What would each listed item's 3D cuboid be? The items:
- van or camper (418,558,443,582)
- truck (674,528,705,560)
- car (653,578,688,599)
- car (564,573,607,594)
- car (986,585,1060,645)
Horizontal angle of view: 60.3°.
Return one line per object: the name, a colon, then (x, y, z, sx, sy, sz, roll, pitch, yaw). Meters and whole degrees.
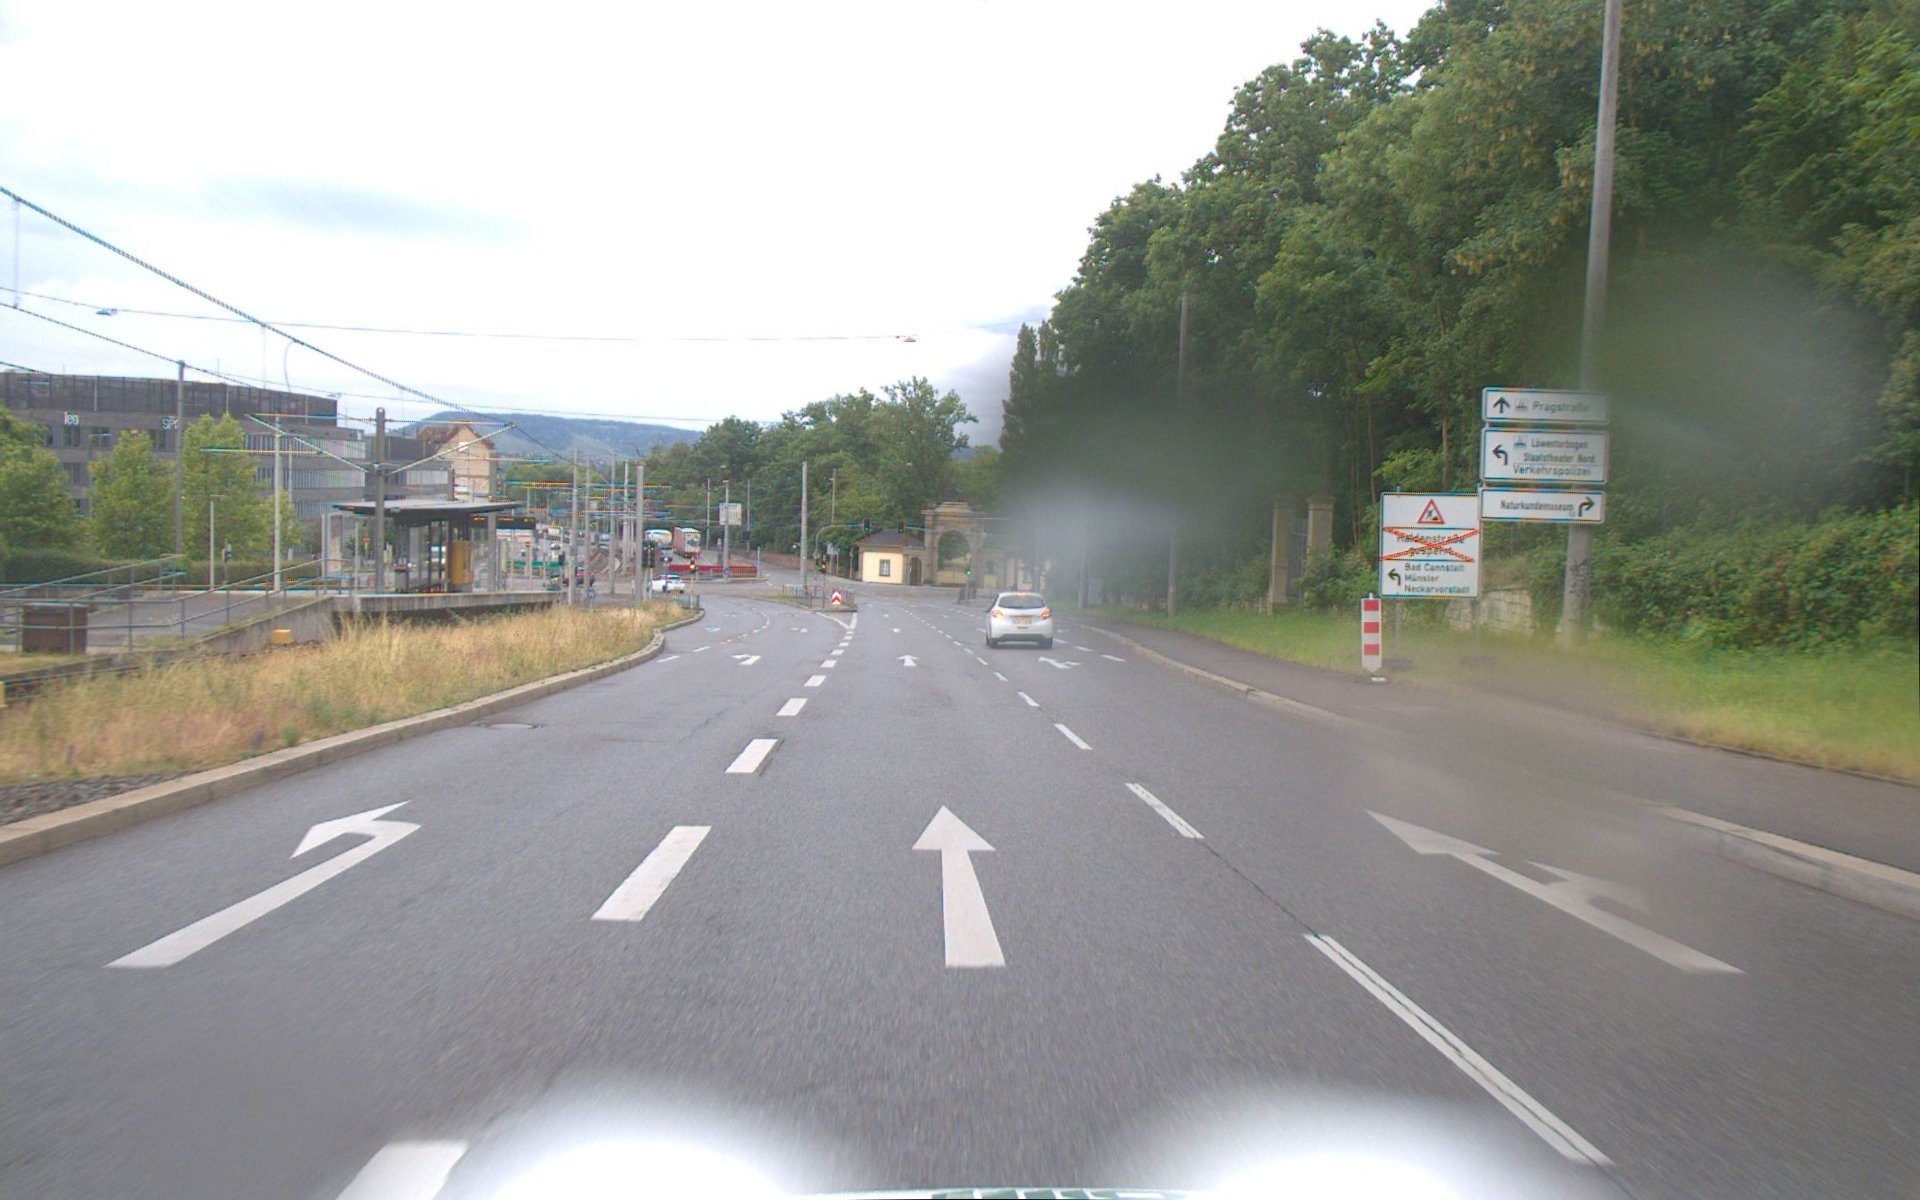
van or camper: (-54.832, -3.103, 171.361, 1.957, 2.385, 3.990, -1, 1, -10)
truck: (-42.046, -8.607, 256.684, 3.358, 4.649, 11.241, 4, 0, -15)
car: (-23.351, -0.953, 133.259, 1.799, 1.634, 3.968, 1, 1, -25)
car: (-32.388, -1.447, 143.113, 1.982, 1.735, 3.940, 0, 1, -41)
car: (1.660, 0.387, 44.711, 1.830, 1.537, 3.899, 0, 0, 0)
